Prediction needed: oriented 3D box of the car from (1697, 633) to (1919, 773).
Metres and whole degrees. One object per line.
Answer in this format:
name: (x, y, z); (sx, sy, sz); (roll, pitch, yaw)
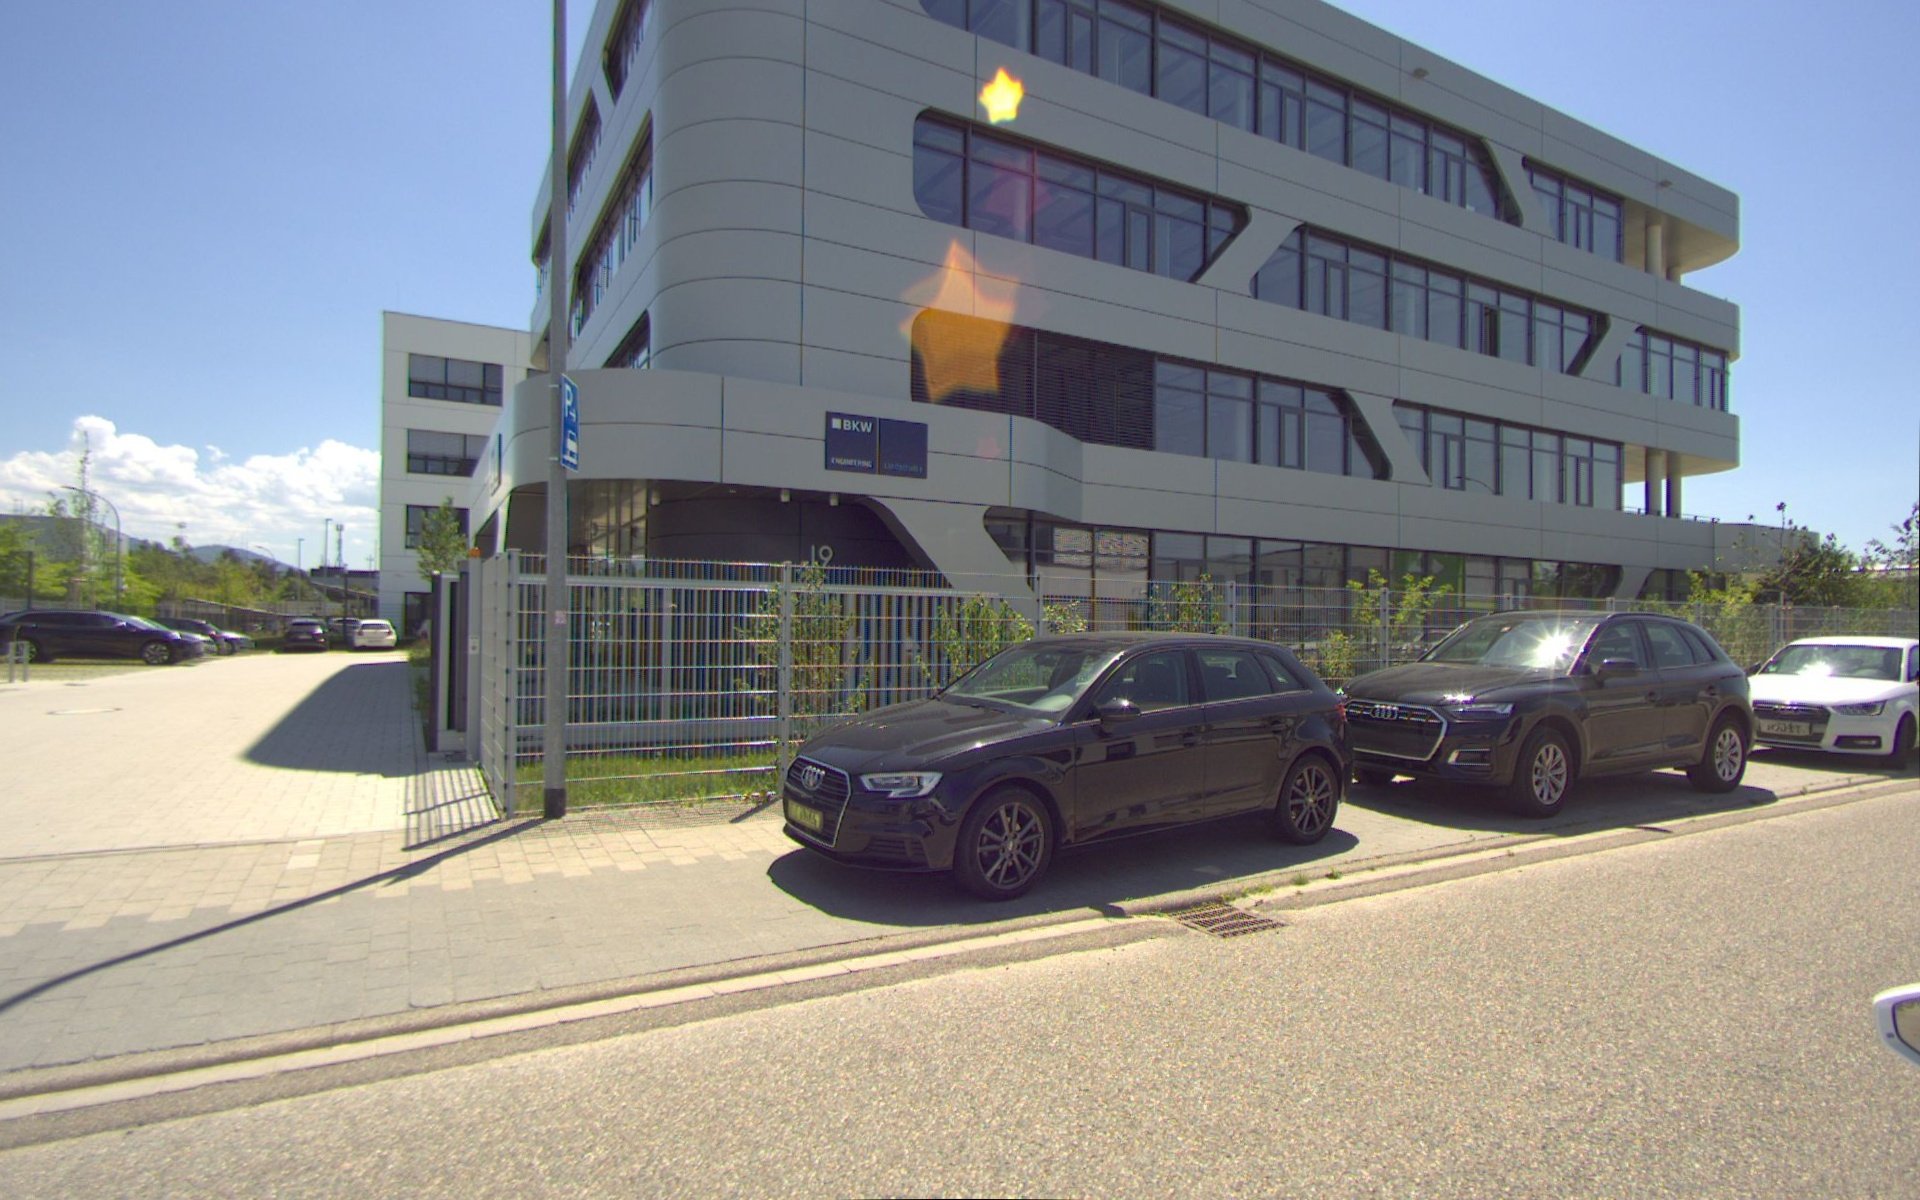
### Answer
car: (10.892, 1.142, 12.334); (3.894, 1.404, 1.690); (1, -1, -33)

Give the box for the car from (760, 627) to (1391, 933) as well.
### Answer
car: (0.906, 0.951, 6.889); (4.139, 1.486, 1.760); (1, -1, -32)

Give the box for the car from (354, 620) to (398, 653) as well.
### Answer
car: (-28.106, 1.731, 48.375); (1.756, 1.531, 4.073); (1, -2, -30)

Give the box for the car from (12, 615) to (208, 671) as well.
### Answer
car: (-24.611, 1.247, 29.292); (4.057, 1.531, 1.762); (1, -2, -30)

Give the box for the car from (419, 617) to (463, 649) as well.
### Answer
car: (-25.669, 1.635, 49.610); (1.756, 1.531, 4.073); (1, -2, -30)

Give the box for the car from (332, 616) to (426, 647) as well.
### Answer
car: (-29.718, 1.630, 51.470); (4.057, 1.531, 1.762); (1, -2, -30)

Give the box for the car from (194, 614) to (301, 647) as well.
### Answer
car: (-34.595, 1.487, 48.919); (4.057, 1.531, 1.762); (1, -2, -30)

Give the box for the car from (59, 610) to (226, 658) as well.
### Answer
car: (-27.163, 1.139, 33.557); (4.057, 1.531, 1.762); (1, -2, -30)

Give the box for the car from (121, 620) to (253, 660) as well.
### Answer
car: (-31.498, 1.626, 41.079); (4.057, 1.531, 1.762); (1, -2, -30)

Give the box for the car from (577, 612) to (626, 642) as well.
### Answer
car: (-19.205, 1.462, 53.745); (1.756, 1.531, 4.073); (1, -2, -30)

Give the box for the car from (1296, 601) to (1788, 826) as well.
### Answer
car: (5.535, 0.878, 9.407); (4.790, 1.673, 1.763); (1, -1, -28)

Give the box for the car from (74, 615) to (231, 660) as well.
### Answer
car: (-28.556, 1.324, 35.691); (4.057, 1.531, 1.762); (1, -2, -30)

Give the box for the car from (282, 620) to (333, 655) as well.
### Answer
car: (-30.347, 1.727, 46.810); (1.756, 1.531, 4.073); (1, -2, -30)
